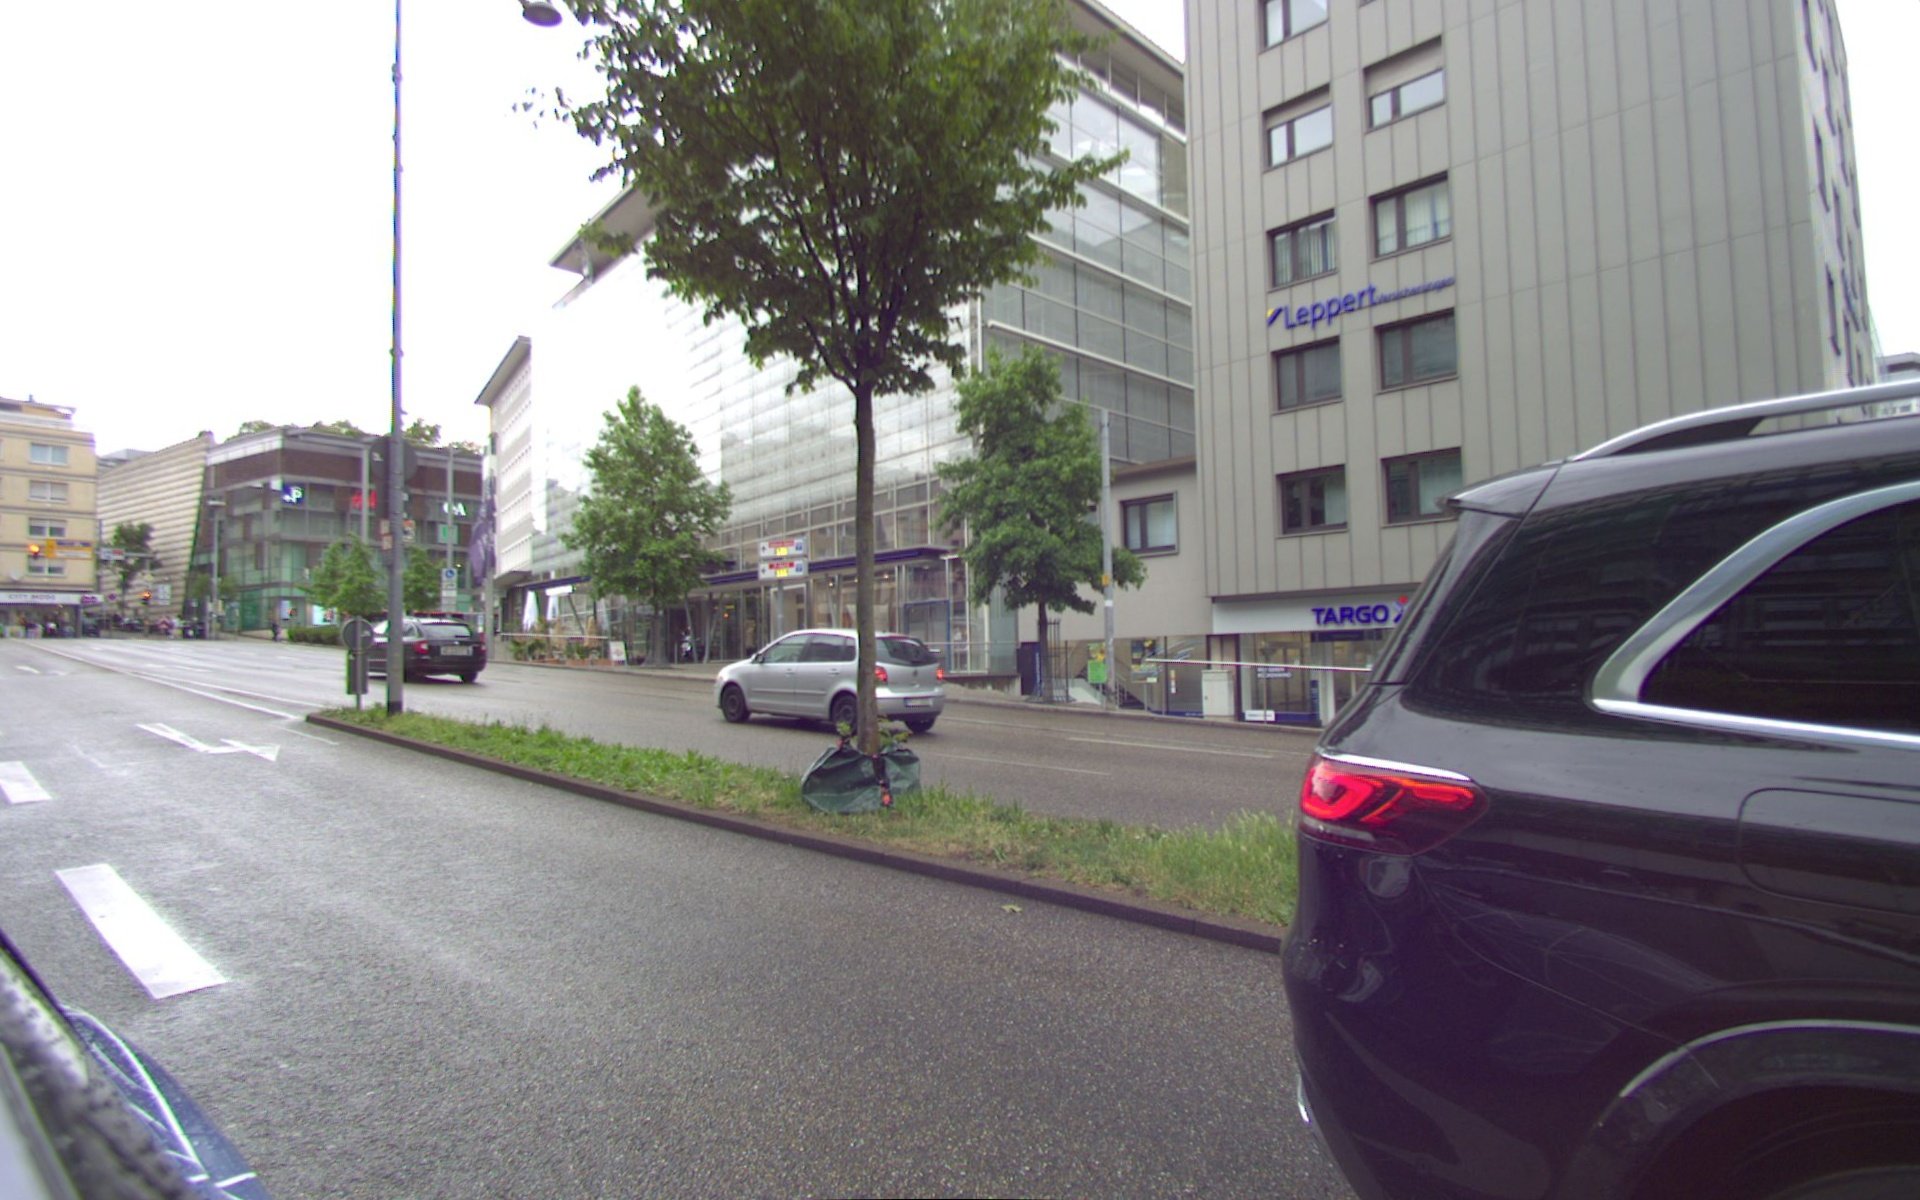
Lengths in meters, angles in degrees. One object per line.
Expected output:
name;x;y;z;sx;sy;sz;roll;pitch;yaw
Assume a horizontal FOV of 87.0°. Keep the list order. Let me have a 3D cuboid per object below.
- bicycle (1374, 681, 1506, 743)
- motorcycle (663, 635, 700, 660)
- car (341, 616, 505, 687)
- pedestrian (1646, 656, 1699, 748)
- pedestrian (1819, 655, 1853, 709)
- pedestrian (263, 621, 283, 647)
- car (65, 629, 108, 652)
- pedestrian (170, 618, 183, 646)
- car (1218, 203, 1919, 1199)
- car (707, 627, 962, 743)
bicycle;10.702;2.467;22.658;2.574;1.275;0.678;-3;-5;42
motorcycle;-12.480;2.118;45.336;1.549;1.080;0.418;4;-3;-41
car;-12.819;1.174;24.062;4.181;1.520;1.974;0;-2;40
pedestrian;13.860;1.960;19.691;0.589;1.731;0.728;4;-3;-43
pedestrian;28.914;2.689;33.412;0.816;1.724;0.671;-1;0;41
pedestrian;-51.839;2.566;76.377;0.735;1.913;0.978;-1;0;23
car;-80.502;3.686;93.219;3.988;2.029;1.978;-1;0;33
pedestrian;-52.424;2.142;67.727;0.588;1.855;0.598;-1;0;40
car;2.961;0.399;1.003;4.881;1.791;1.974;-1;0;40
car;-1.888;1.153;14.757;3.643;1.448;1.609;0;-3;39
